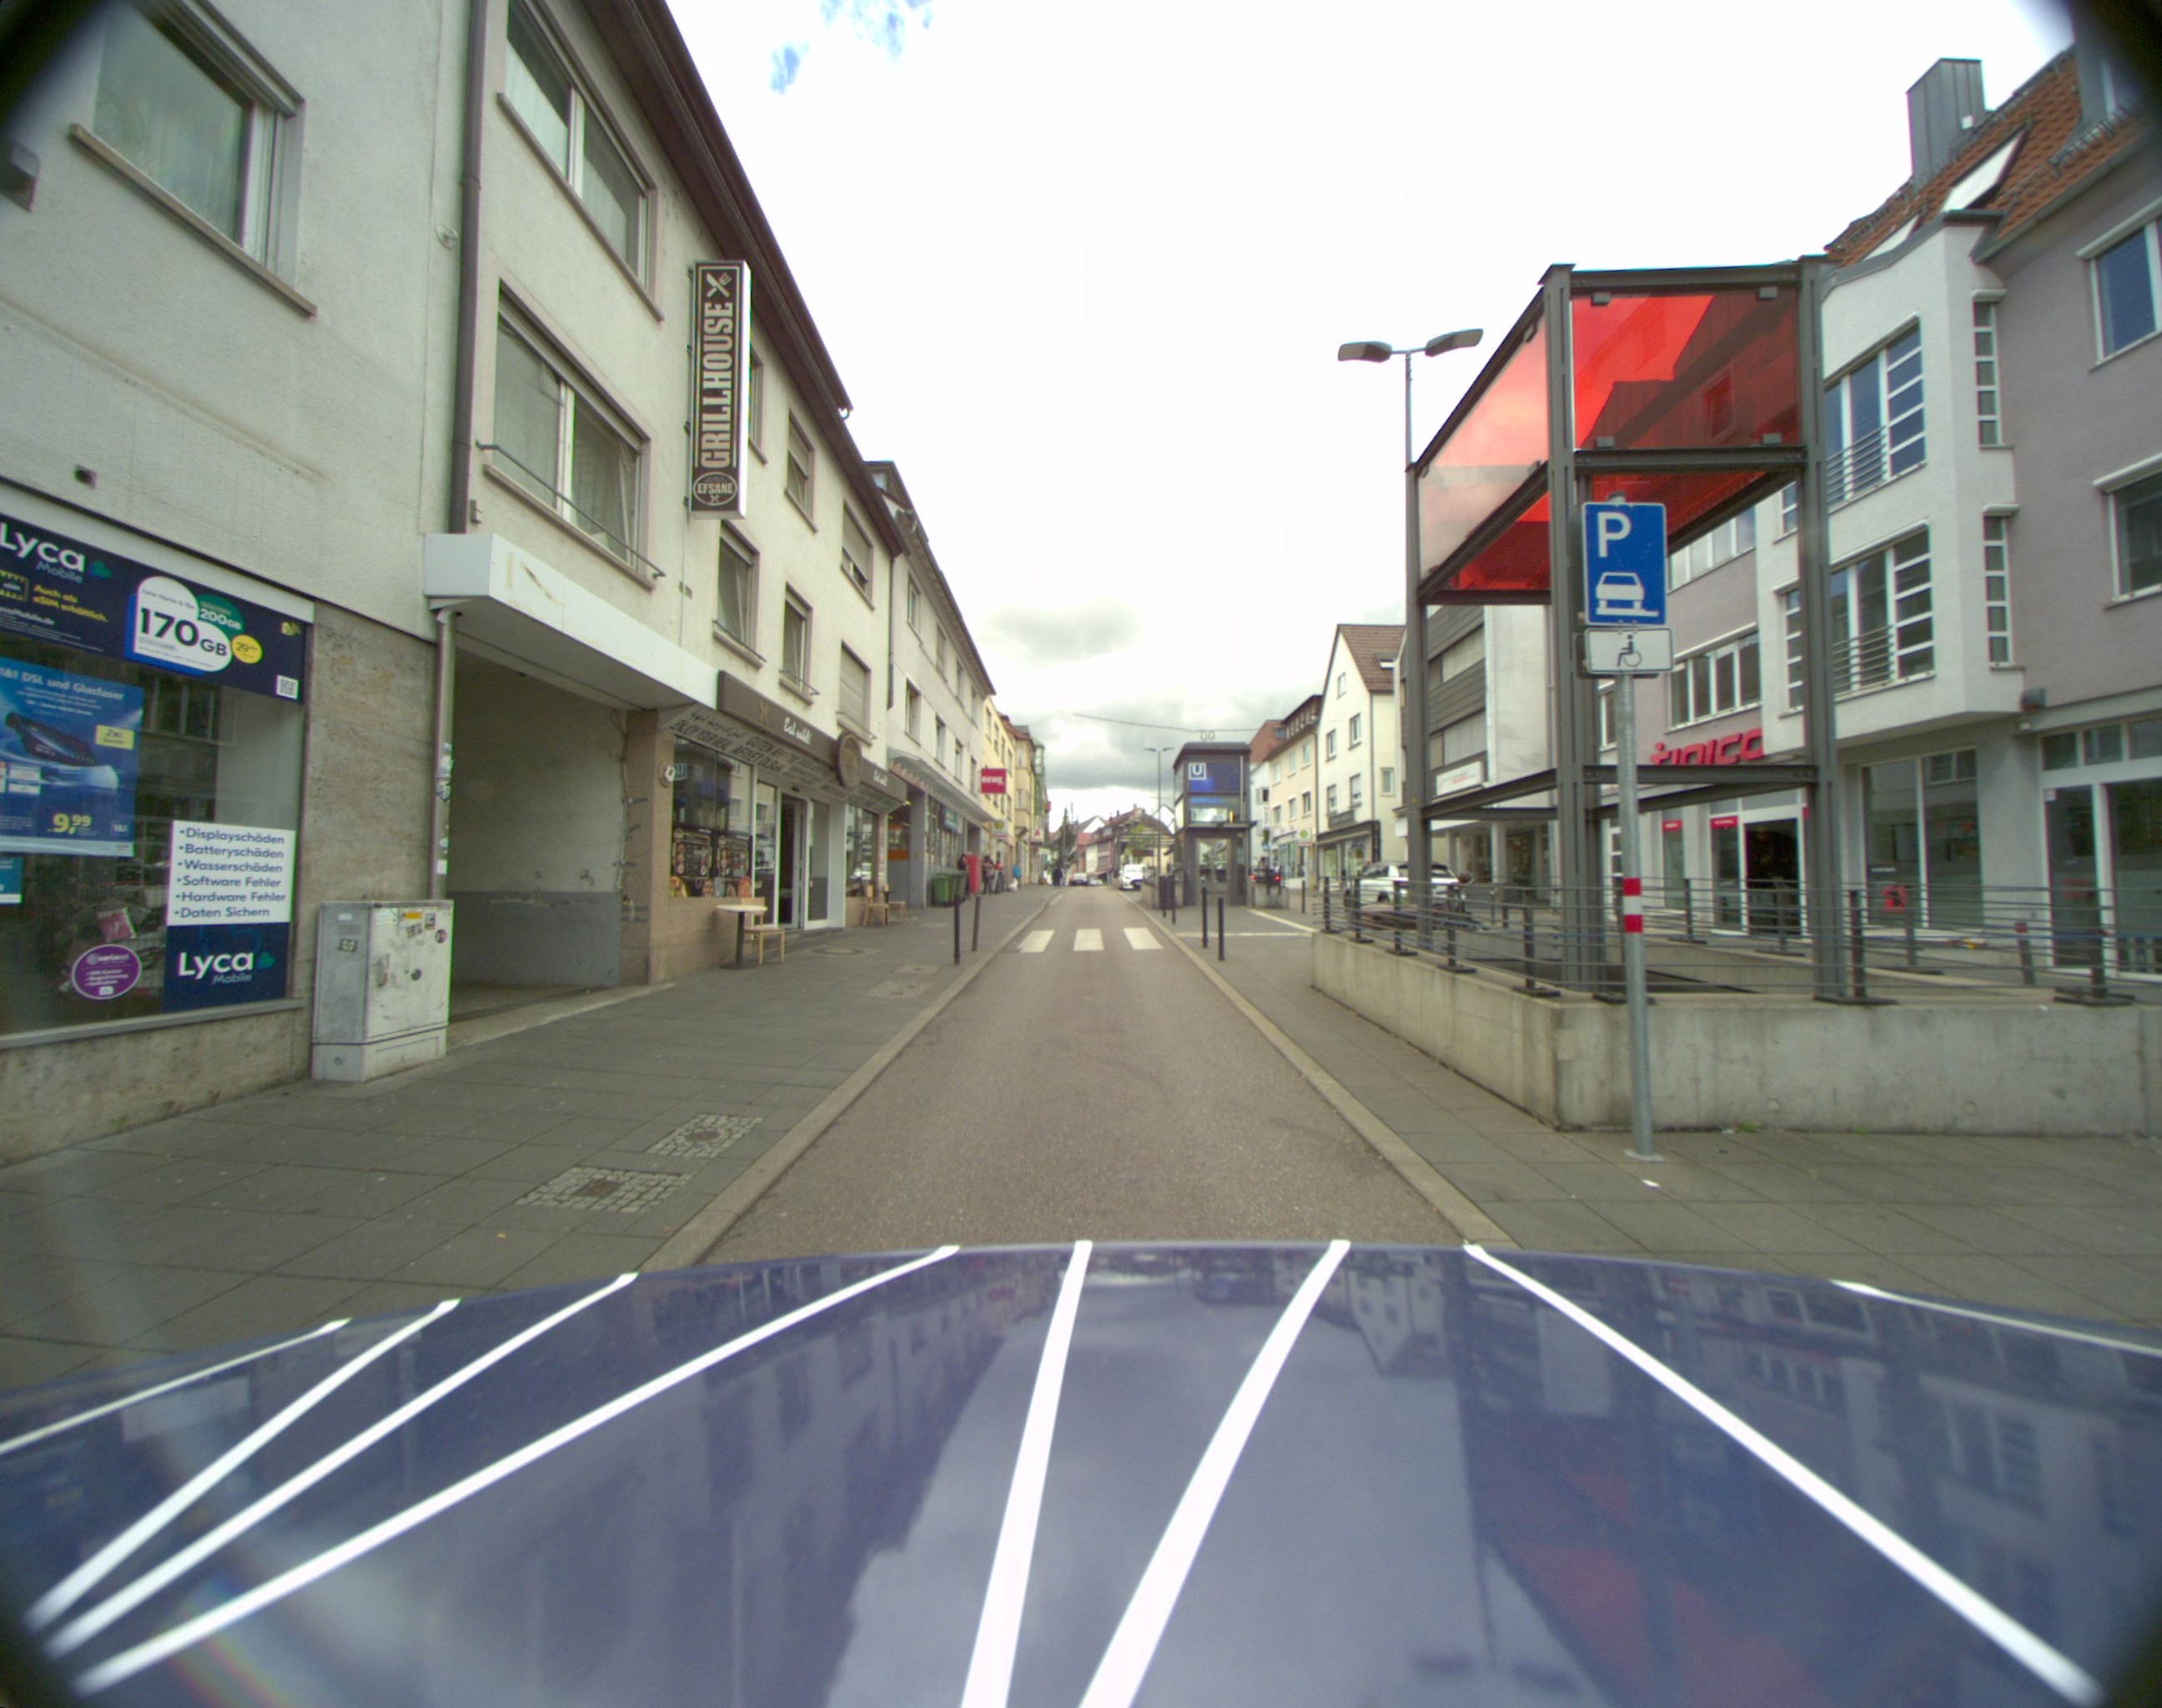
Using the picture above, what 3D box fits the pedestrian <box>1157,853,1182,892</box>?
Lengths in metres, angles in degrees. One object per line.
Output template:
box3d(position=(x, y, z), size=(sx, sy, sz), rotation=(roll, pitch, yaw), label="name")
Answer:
box3d(position=(4.309, 0.884, 37.048), size=(1.097, 1.831, 0.931), rotation=(-2, 1, 1), label="pedestrian")

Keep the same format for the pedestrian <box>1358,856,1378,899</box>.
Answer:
box3d(position=(11.803, 0.963, 31.267), size=(0.592, 1.706, 0.513), rotation=(-2, 1, 1), label="pedestrian")

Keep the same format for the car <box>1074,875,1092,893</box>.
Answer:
box3d(position=(0.212, 2.972, 75.860), size=(1.741, 1.608, 3.843), rotation=(-2, 0, 0), label="car")

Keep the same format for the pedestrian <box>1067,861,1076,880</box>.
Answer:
box3d(position=(-0.800, 1.417, 65.739), size=(0.657, 1.620, 0.743), rotation=(-2, 1, -6), label="pedestrian")

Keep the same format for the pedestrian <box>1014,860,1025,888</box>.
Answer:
box3d(position=(-3.689, 1.208, 45.734), size=(0.627, 1.620, 0.607), rotation=(-2, 1, -5), label="pedestrian")

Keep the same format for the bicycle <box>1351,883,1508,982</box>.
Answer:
box3d(position=(4.430, 0.994, 9.720), size=(1.782, 1.216, 0.459), rotation=(0, 1, 0), label="bicycle")

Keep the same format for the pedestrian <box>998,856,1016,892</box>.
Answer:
box3d(position=(-3.566, 0.963, 36.742), size=(0.608, 1.716, 0.626), rotation=(-2, 1, -29), label="pedestrian")

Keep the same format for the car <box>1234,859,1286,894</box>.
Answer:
box3d(position=(9.004, 1.112, 38.474), size=(1.683, 1.562, 4.122), rotation=(-2, 0, 1), label="car")

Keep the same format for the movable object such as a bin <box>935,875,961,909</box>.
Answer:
box3d(position=(-4.123, 1.178, 23.593), size=(0.670, 1.024, 0.560), rotation=(0, 0, 1), label="movable object such as a bin")

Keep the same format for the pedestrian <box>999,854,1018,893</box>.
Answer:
box3d(position=(-3.414, 0.900, 35.607), size=(0.629, 1.811, 0.605), rotation=(-3, 1, -34), label="pedestrian")

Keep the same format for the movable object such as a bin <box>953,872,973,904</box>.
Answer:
box3d(position=(-3.993, 1.136, 25.633), size=(0.569, 1.053, 0.574), rotation=(0, 0, 1), label="movable object such as a bin")

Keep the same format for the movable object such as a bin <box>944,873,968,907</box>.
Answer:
box3d(position=(-3.982, 1.146, 24.274), size=(0.652, 1.074, 0.673), rotation=(0, 0, 1), label="movable object such as a bin")

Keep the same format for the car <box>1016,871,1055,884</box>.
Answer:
box3d(position=(-5.634, 2.915, 94.265), size=(4.627, 1.570, 1.776), rotation=(0, 0, -12), label="car")

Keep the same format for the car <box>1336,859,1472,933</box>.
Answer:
box3d(position=(7.979, 0.958, 19.202), size=(1.683, 1.562, 4.122), rotation=(-2, 0, 1), label="car")

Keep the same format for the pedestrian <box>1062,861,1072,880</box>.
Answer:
box3d(position=(-1.191, 1.395, 64.575), size=(0.657, 1.620, 0.743), rotation=(-2, 1, -6), label="pedestrian")

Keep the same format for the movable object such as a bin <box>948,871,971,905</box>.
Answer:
box3d(position=(-3.993, 1.110, 24.989), size=(0.652, 1.074, 0.659), rotation=(0, 0, 1), label="movable object such as a bin")

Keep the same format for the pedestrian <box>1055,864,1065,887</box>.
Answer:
box3d(position=(-1.504, 1.538, 55.282), size=(0.657, 1.620, 0.743), rotation=(-2, 1, -1), label="pedestrian")

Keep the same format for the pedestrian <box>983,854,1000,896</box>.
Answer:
box3d(position=(-3.779, 0.870, 32.013), size=(0.627, 1.716, 0.607), rotation=(2, 1, -5), label="pedestrian")

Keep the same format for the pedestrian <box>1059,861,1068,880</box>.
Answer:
box3d(position=(-1.541, 1.435, 65.717), size=(0.657, 1.620, 0.743), rotation=(-2, 1, -6), label="pedestrian")

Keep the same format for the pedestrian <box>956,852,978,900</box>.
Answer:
box3d(position=(-4.197, 0.802, 27.953), size=(0.628, 1.716, 0.606), rotation=(-2, 1, -22), label="pedestrian")

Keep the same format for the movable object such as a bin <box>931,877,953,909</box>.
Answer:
box3d(position=(-4.196, 1.168, 22.974), size=(0.568, 0.951, 0.498), rotation=(0, 0, 1), label="movable object such as a bin")

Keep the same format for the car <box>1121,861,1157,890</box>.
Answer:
box3d(position=(3.234, 1.182, 42.880), size=(1.754, 1.452, 3.601), rotation=(-2, 0, 1), label="car")

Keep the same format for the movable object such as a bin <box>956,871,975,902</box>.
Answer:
box3d(position=(-3.972, 1.116, 26.217), size=(0.560, 1.050, 0.559), rotation=(0, 0, 1), label="movable object such as a bin")
